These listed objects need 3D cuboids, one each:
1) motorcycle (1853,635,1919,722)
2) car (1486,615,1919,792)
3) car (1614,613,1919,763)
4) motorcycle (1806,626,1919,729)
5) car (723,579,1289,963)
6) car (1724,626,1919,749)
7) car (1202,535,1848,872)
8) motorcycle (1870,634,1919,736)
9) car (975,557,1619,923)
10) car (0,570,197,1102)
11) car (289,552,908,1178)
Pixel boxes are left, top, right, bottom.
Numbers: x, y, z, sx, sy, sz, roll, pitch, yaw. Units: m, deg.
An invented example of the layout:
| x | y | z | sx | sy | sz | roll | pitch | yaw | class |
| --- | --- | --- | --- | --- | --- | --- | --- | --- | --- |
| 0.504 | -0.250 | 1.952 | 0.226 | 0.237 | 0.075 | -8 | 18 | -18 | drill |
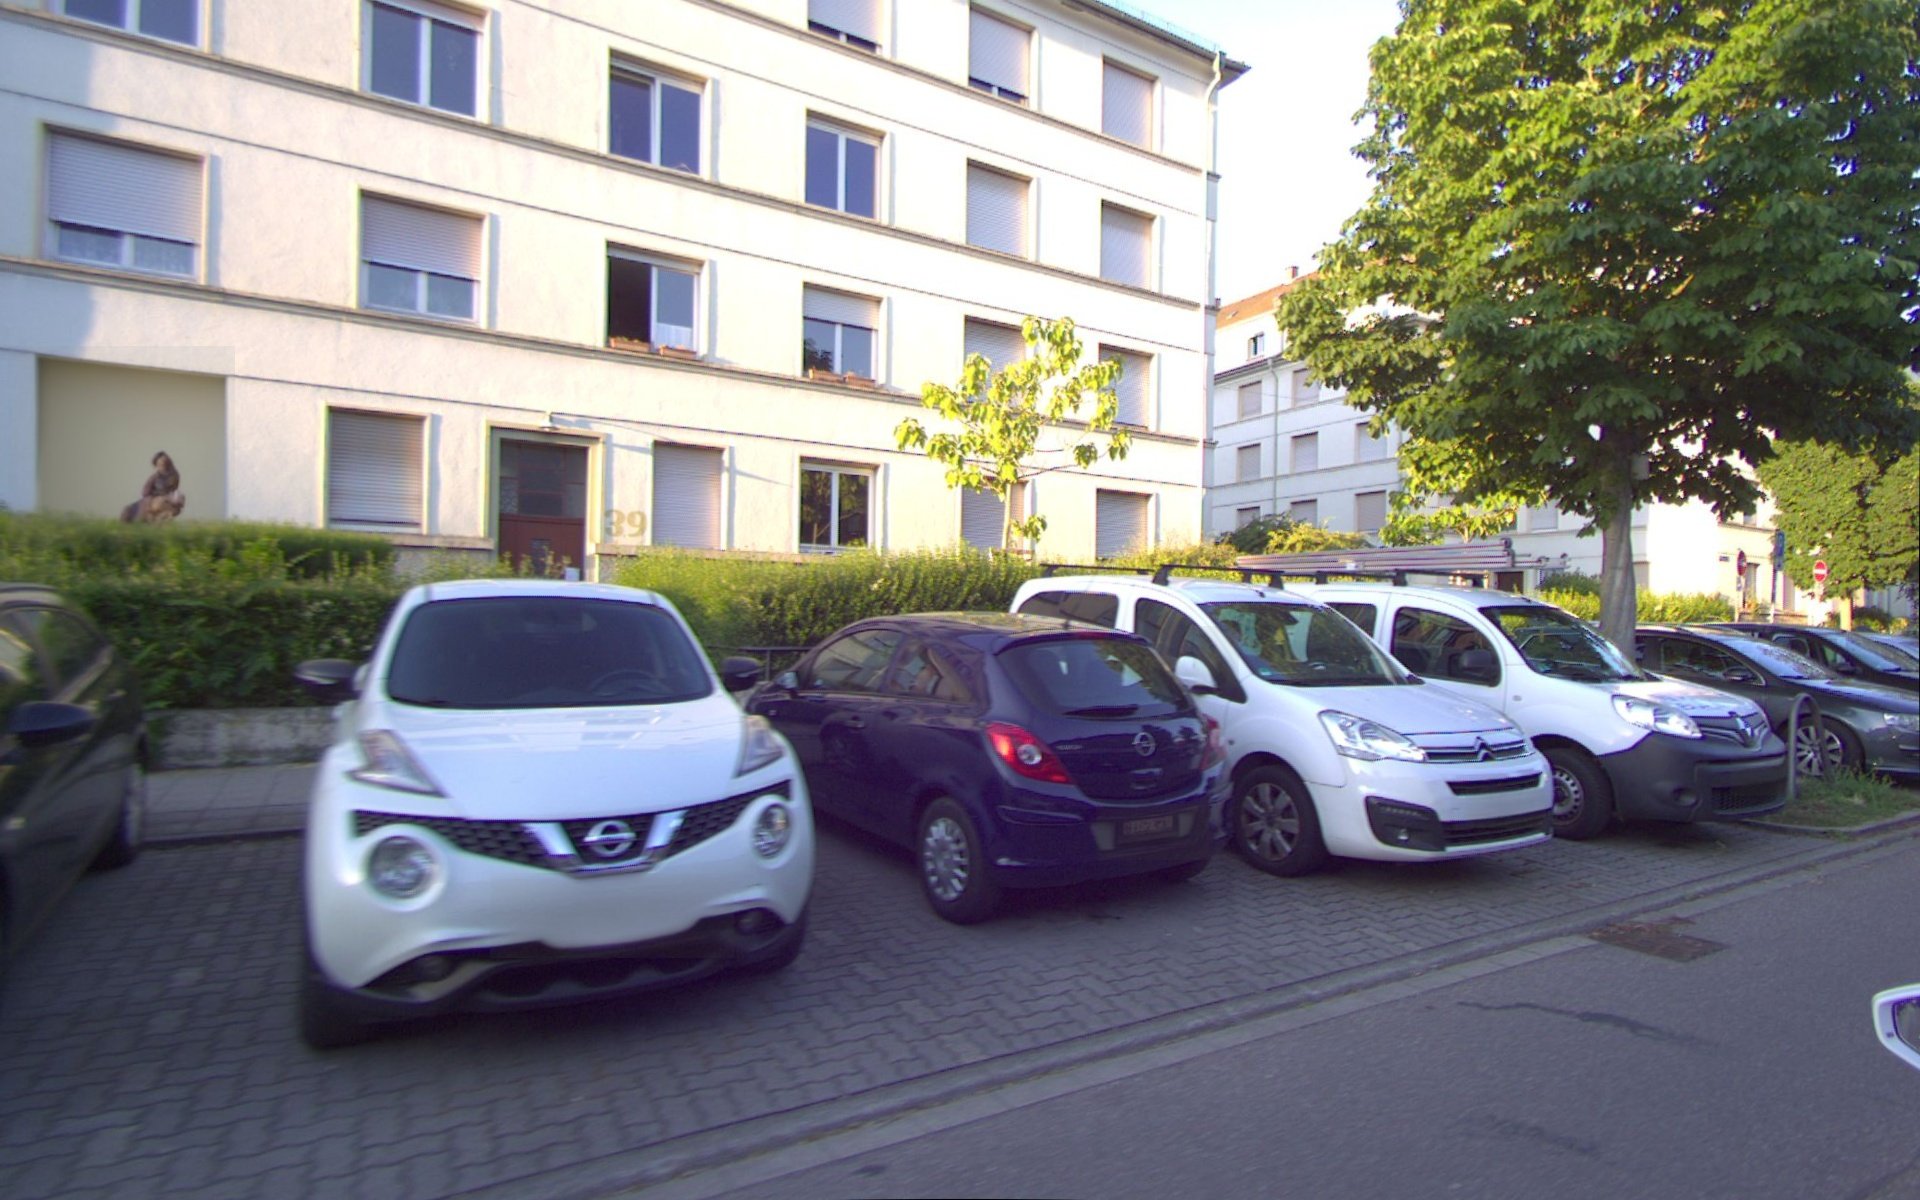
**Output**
| x | y | z | sx | sy | sz | roll | pitch | yaw | class |
| --- | --- | --- | --- | --- | --- | --- | --- | --- | --- |
| 16.691 | 1.348 | 17.001 | 0.764 | 1.455 | 2.223 | 2 | -1 | -27 | motorcycle |
| 8.529 | 0.990 | 11.313 | 1.828 | 1.424 | 4.308 | 2 | 1 | -28 | car |
| 10.691 | 1.003 | 12.491 | 1.707 | 1.604 | 3.971 | 2 | -1 | -28 | car |
| 15.451 | 1.259 | 16.527 | 0.764 | 1.603 | 2.223 | 2 | -1 | -27 | motorcycle |
| -0.071 | 0.720 | 6.456 | 1.735 | 1.504 | 3.967 | 1 | 3 | -30 | car |
| 12.827 | 1.165 | 13.515 | 1.669 | 1.526 | 3.699 | 2 | -1 | -28 | car |
| 4.361 | 0.553 | 8.680 | 1.974 | 2.098 | 4.496 | 0 | 2 | -26 | car |
| 14.416 | 1.251 | 14.358 | 0.714 | 1.455 | 1.973 | 2 | -1 | -34 | motorcycle |
| 2.000 | 0.665 | 7.418 | 1.918 | 1.826 | 4.404 | 1 | 1 | -27 | car |
| -4.313 | 0.654 | 3.742 | 1.807 | 1.471 | 4.385 | 2 | 1 | -31 | car |
| -2.015 | 0.658 | 4.914 | 1.792 | 1.642 | 4.223 | 1 | 1 | -30 | car |
